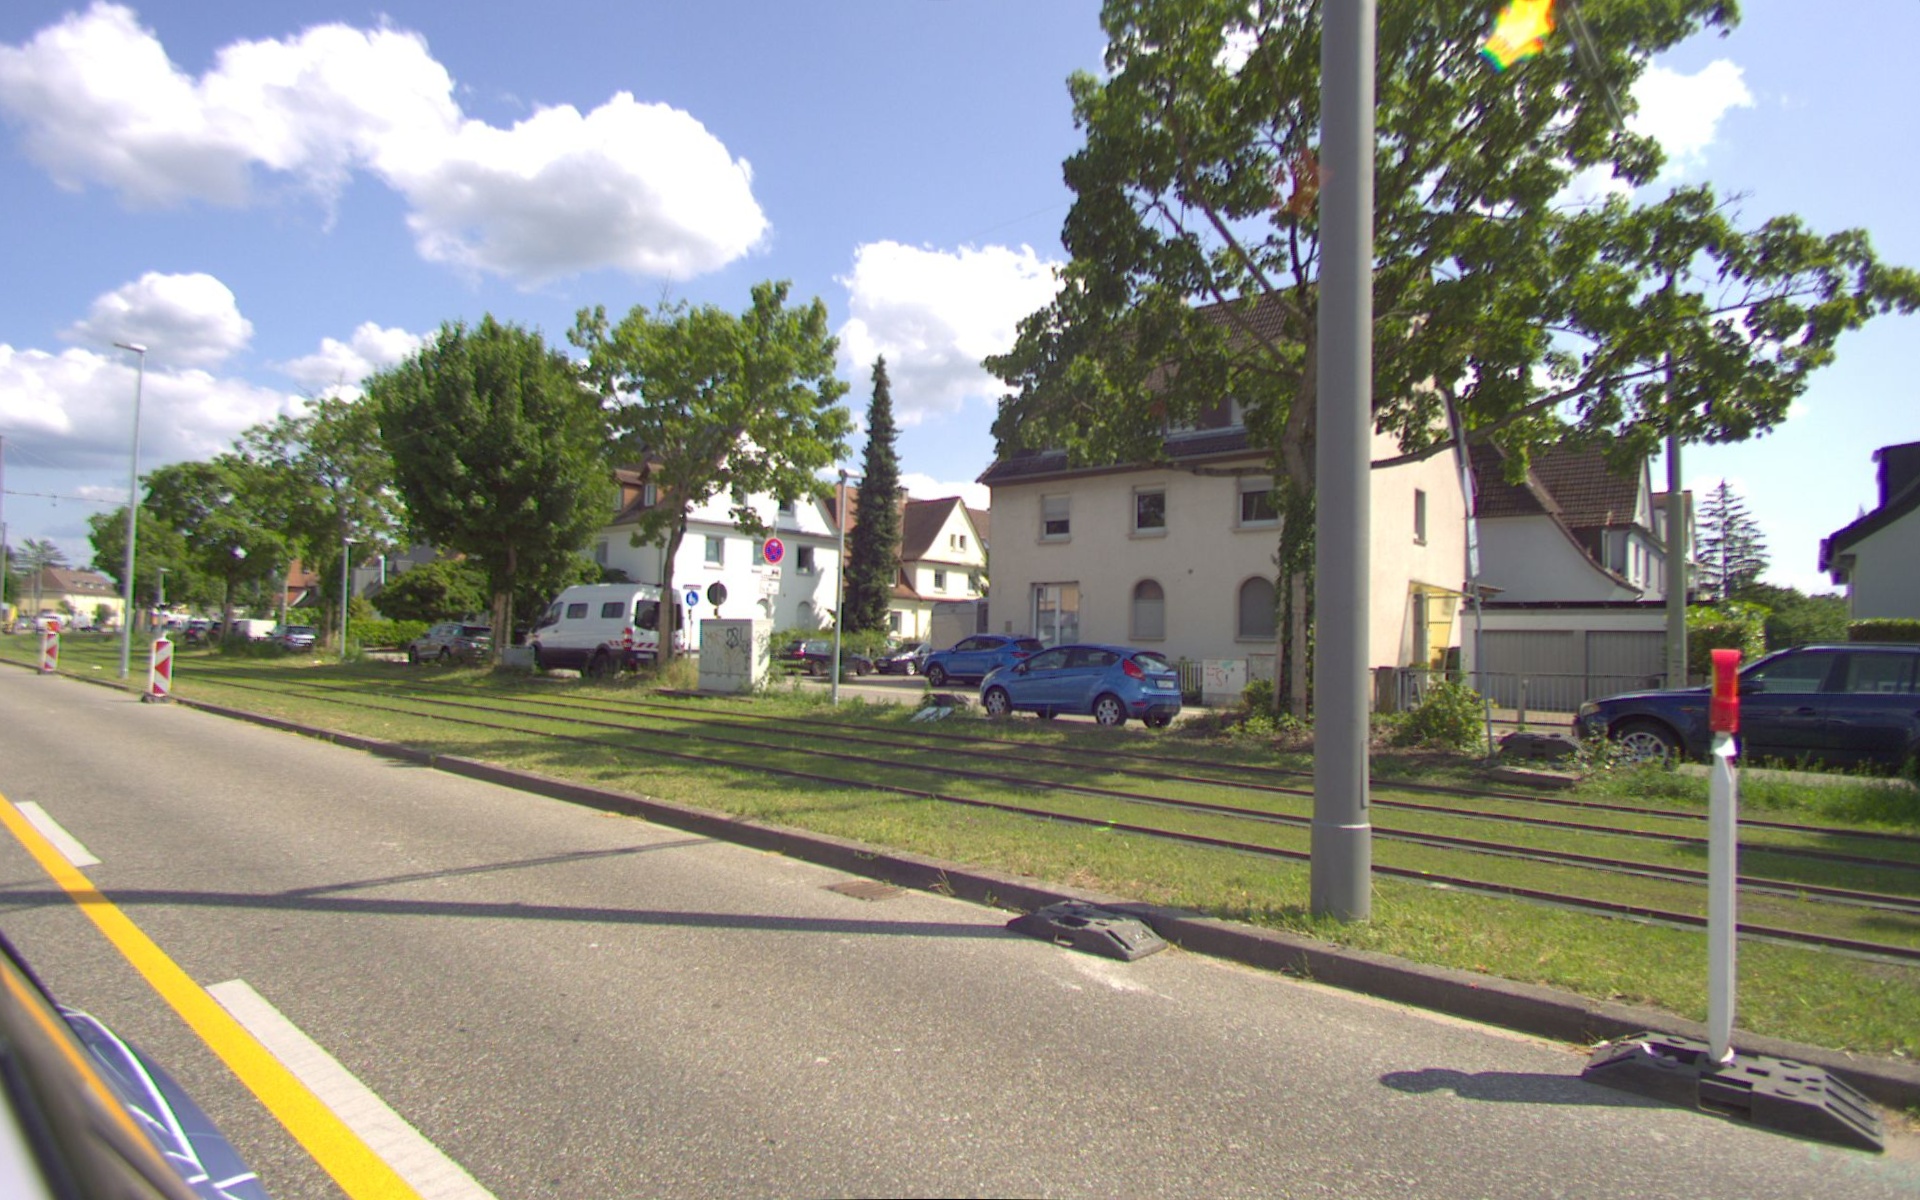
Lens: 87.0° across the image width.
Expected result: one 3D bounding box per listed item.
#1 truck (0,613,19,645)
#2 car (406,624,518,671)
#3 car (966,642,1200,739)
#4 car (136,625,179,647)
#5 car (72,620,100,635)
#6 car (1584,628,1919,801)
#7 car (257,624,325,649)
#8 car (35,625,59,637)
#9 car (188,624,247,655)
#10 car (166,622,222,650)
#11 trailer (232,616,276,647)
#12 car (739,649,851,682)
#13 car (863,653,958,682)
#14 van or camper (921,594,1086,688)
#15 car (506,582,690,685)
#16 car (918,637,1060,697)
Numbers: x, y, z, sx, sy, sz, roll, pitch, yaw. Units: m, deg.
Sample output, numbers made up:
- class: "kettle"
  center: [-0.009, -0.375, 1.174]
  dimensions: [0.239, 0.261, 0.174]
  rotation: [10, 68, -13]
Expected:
- class: "truck"
  center: [-105.322, 3.132, 110.632]
  dimensions: [2.661, 3.391, 8.066]
  rotation: [4, -4, -37]
- class: "car"
  center: [-17.721, 1.662, 35.898]
  dimensions: [4.485, 1.517, 1.972]
  rotation: [0, -3, 42]
- class: "car"
  center: [2.135, 1.557, 18.209]
  dimensions: [3.890, 1.446, 1.734]
  rotation: [0, -3, 44]
- class: "car"
  center: [-60.621, 2.724, 76.411]
  dimensions: [4.324, 1.551, 1.971]
  rotation: [0, -3, 44]
- class: "car"
  center: [-125.735, 3.942, 145.574]
  dimensions: [1.811, 2.070, 3.881]
  rotation: [3, -3, -23]
- class: "car"
  center: [9.806, 1.243, 11.559]
  dimensions: [4.386, 1.704, 1.974]
  rotation: [0, -3, 38]
- class: "car"
  center: [-32.299, 1.762, 48.845]
  dimensions: [3.835, 1.101, 1.762]
  rotation: [0, -3, 41]
- class: "car"
  center: [-118.957, 4.078, 131.924]
  dimensions: [1.489, 1.510, 3.585]
  rotation: [4, -3, -30]
- class: "car"
  center: [-43.677, 2.346, 59.516]
  dimensions: [4.100, 1.590, 1.885]
  rotation: [-3, -8, 42]
- class: "car"
  center: [-47.541, 2.235, 62.798]
  dimensions: [4.321, 1.551, 1.972]
  rotation: [0, -3, 42]
- class: "trailer"
  center: [-36.510, 1.645, 52.344]
  dimensions: [2.281, 1.530, 1.286]
  rotation: [-1, -4, 41]
- class: "car"
  center: [-6.441, 2.581, 39.777]
  dimensions: [2.045, 1.170, 3.945]
  rotation: [0, -3, 41]
- class: "car"
  center: [-2.148, 2.973, 44.492]
  dimensions: [1.999, 1.143, 3.945]
  rotation: [0, -3, 41]
- class: "van or camper"
  center: [1.785, 1.581, 38.060]
  dimensions: [2.633, 3.246, 6.657]
  rotation: [-1, -3, 41]
- class: "car"
  center: [-10.712, 0.984, 29.647]
  dimensions: [6.456, 2.751, 1.973]
  rotation: [-1, -4, 40]
- class: "car"
  center: [0.845, 1.996, 30.719]
  dimensions: [3.999, 1.589, 1.882]
  rotation: [0, -3, 42]
